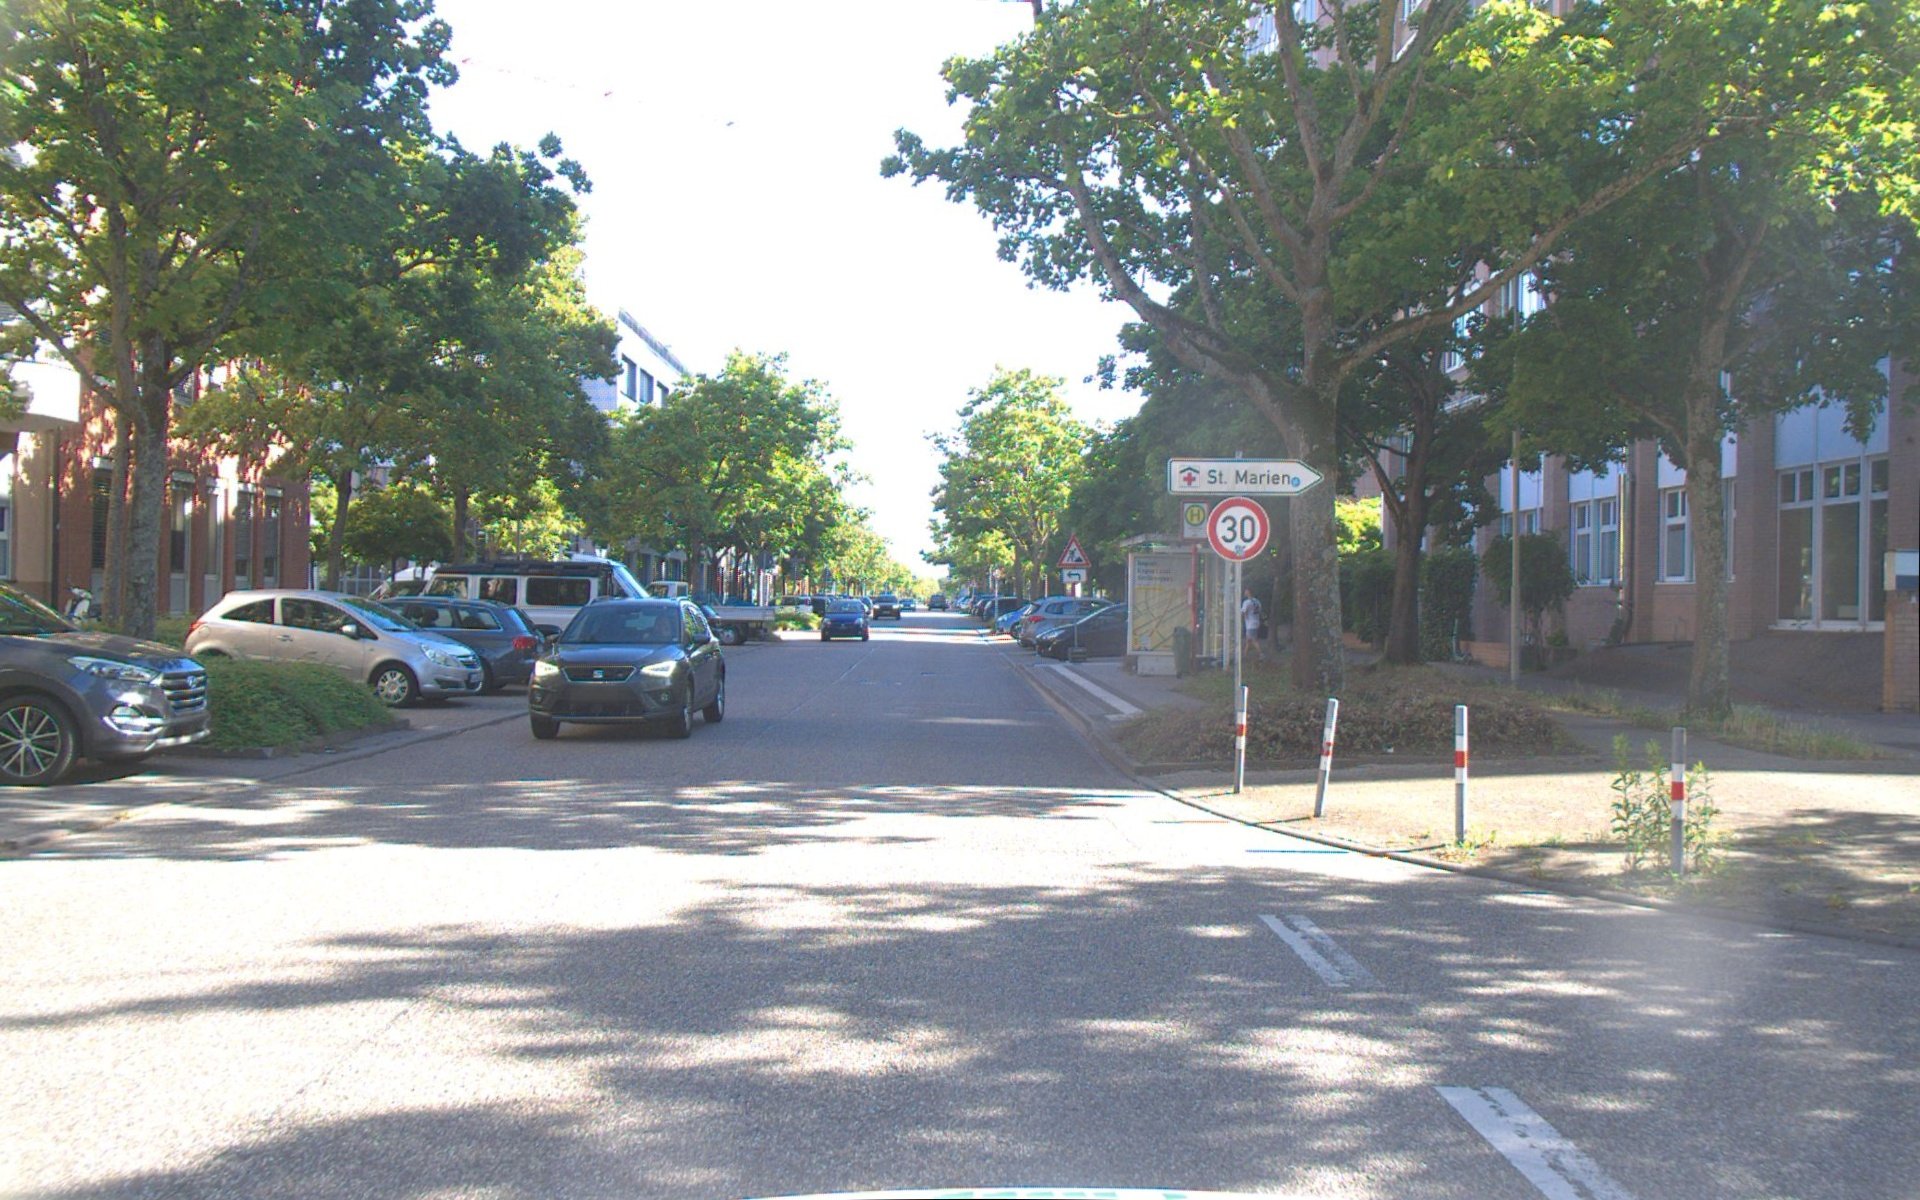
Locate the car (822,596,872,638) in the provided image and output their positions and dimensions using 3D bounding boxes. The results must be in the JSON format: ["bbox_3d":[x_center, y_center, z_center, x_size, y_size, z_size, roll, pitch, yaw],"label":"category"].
[{"bbox_3d":[-4.079,0.585,60.092,1.610,1.445,3.999,1,0,-1],"label":"car"}]

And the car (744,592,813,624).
[{"bbox_3d":[-9.623,0.415,87.762,3.509,1.577,1.636,1,-3,-3],"label":"car"}]

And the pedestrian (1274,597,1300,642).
[{"bbox_3d":[11.504,0.681,58.223,0.741,1.579,0.559,1,0,-4],"label":"pedestrian"}]

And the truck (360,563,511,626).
[{"bbox_3d":[-23.620,-0.263,74.666,5.982,2.752,2.577,0,0,-3],"label":"truck"}]

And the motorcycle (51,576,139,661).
[{"bbox_3d":[-17.070,0.351,32.687,0.700,1.619,2.109,0,0,-2],"label":"motorcycle"}]

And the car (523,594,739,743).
[{"bbox_3d":[-3.722,0.715,19.367,1.743,1.538,3.999,1,0,-1],"label":"car"}]

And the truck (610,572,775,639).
[{"bbox_3d":[-8.523,0.175,53.093,4.882,1.993,2.138,1,0,1],"label":"truck"}]

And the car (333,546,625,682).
[{"bbox_3d":[-8.201,0.239,28.520,4.392,2.087,1.999,2,0,-3],"label":"car"}]

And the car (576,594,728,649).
[{"bbox_3d":[-8.745,0.595,47.159,3.903,1.460,1.790,1,0,3],"label":"car"}]

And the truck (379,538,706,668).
[{"bbox_3d":[-8.451,0.067,33.930,6.105,2.464,2.187,1,0,-1],"label":"truck"}]

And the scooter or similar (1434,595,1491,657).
[{"bbox_3d":[11.295,0.574,37.240,0.538,1.348,1.803,2,0,-6],"label":"scooter or similar"}]

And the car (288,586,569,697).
[{"bbox_3d":[-8.191,0.624,25.733,3.701,1.518,1.833,2,0,0],"label":"car"}]

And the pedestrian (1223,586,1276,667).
[{"bbox_3d":[6.481,0.585,37.025,0.902,1.740,0.695,-3,1,-14],"label":"pedestrian"}]

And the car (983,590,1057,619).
[{"bbox_3d":[3.486,0.268,96.936,4.183,1.662,1.857,0,0,-4],"label":"car"}]

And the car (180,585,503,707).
[{"bbox_3d":[-8.505,0.612,22.955,3.755,1.486,1.733,2,0,2],"label":"car"}]

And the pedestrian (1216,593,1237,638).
[{"bbox_3d":[9.320,0.541,57.890,0.590,1.547,0.594,1,0,-5],"label":"pedestrian"}]

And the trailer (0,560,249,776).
[{"bbox_3d":[-8.301,0.460,13.461,4.177,1.599,1.855,2,0,-5],"label":"trailer"}]

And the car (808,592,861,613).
[{"bbox_3d":[-9.254,0.173,122.420,3.814,1.489,1.857,1,0,-2],"label":"car"}]

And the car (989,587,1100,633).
[{"bbox_3d":[3.388,0.393,66.879,4.316,1.646,1.911,-2,0,-2],"label":"car"}]

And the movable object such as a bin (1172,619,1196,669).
[{"bbox_3d":[3.575,0.698,26.385,0.292,0.767,0.467,-1,0,-1],"label":"movable object such as a bin"}]

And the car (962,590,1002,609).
[{"bbox_3d":[2.237,-0.064,168.450,3.910,1.823,1.998,1,0,-6],"label":"car"}]

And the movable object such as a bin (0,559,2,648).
[{"bbox_3d":[-17.570,0.061,28.880,1.125,1.590,1.240,1,0,-13],"label":"movable object such as a bin"}]

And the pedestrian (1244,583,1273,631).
[{"bbox_3d":[10.952,0.247,60.688,0.683,1.740,0.918,-3,1,-12],"label":"pedestrian"}]

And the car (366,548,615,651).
[{"bbox_3d":[-8.664,-0.011,30.835,4.024,1.691,1.999,2,0,-2],"label":"car"}]

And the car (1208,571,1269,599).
[{"bbox_3d":[20.317,-1.071,120.684,3.992,1.814,1.998,2,0,-5],"label":"car"}]

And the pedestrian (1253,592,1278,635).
[{"bbox_3d":[10.735,0.464,58.147,0.686,1.483,0.715,0,0,-3],"label":"pedestrian"}]

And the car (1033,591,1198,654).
[{"bbox_3d":[3.821,0.554,41.113,3.856,1.464,1.773,1,0,-3],"label":"car"}]

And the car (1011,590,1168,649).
[{"bbox_3d":[3.743,0.558,48.268,4.269,1.625,1.936,1,0,-7],"label":"car"}]

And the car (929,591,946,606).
[{"bbox_3d":[-2.633,-0.202,190.360,1.894,1.625,4.365,0,0,-1],"label":"car"}]

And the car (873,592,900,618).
[{"bbox_3d":[-5.059,0.317,113.983,1.854,1.713,4.350,0,0,-3],"label":"car"}]
